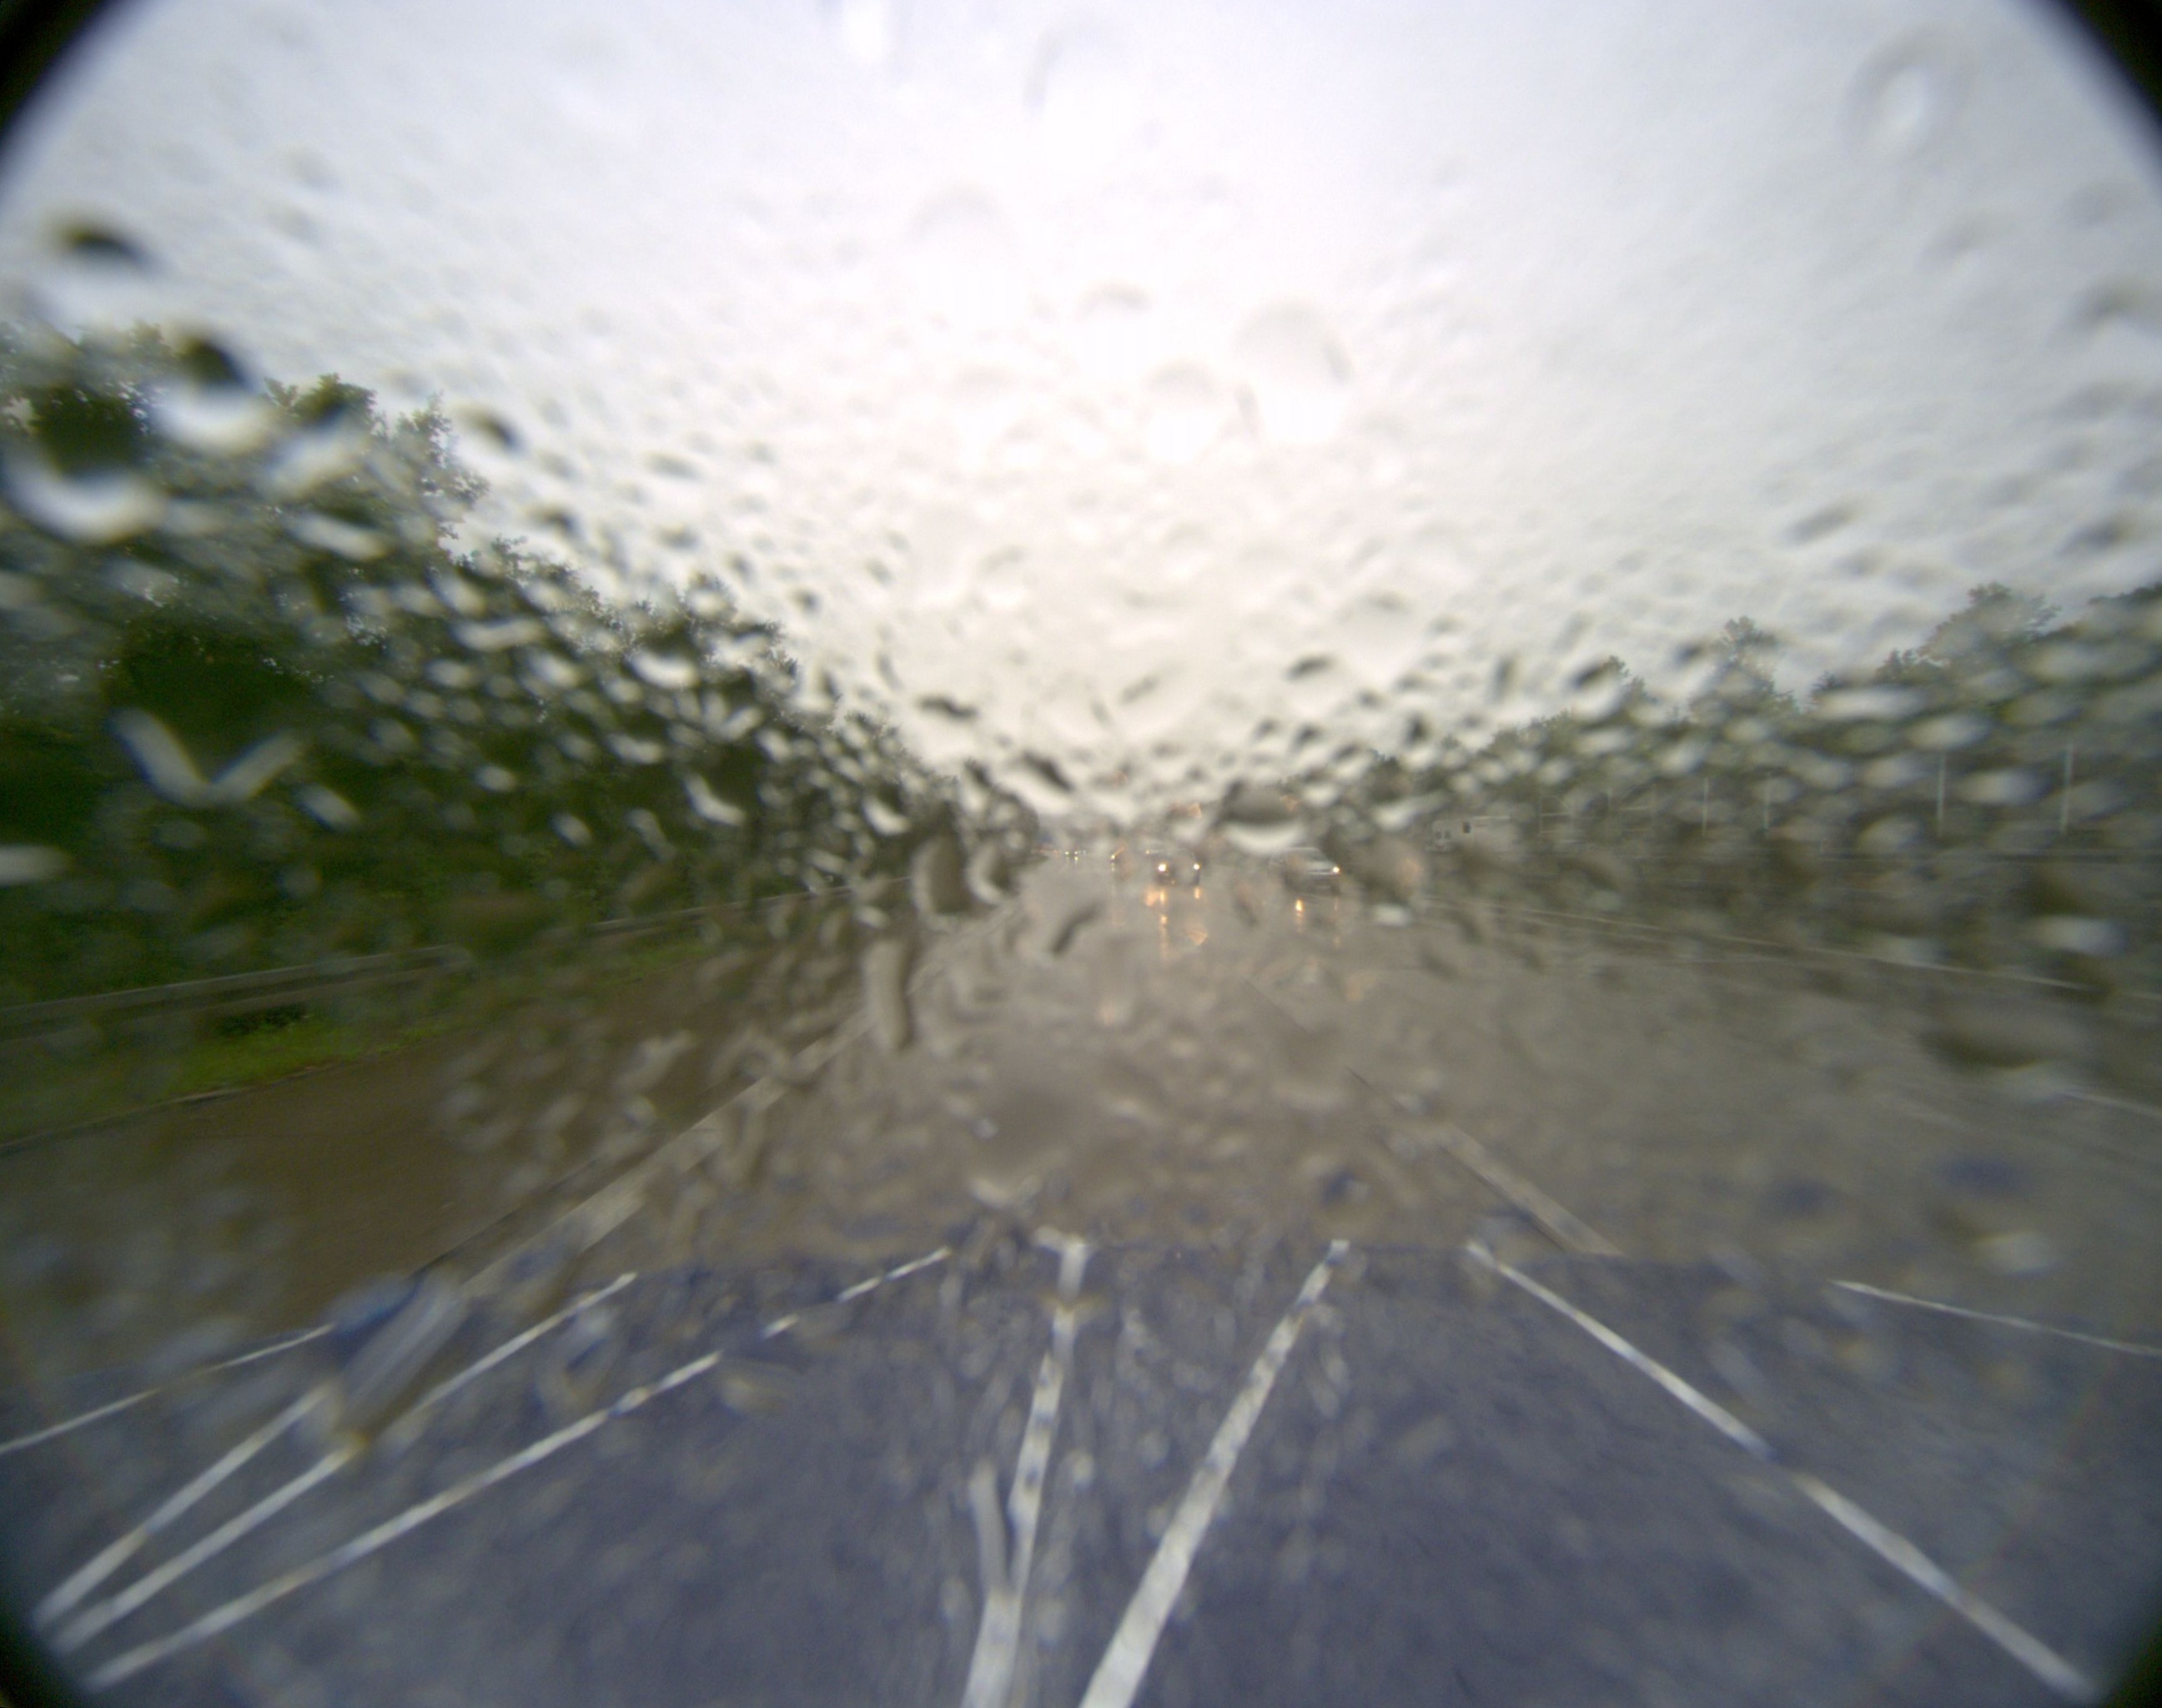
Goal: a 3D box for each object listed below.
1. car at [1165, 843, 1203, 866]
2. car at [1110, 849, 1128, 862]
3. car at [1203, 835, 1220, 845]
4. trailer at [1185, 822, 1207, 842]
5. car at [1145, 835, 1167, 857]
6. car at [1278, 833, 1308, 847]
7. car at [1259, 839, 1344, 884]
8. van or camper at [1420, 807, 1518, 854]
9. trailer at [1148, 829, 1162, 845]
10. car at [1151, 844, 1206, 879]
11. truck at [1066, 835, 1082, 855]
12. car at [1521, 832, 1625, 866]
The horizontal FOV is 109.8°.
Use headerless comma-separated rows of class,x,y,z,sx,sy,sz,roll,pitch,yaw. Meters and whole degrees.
car,6.828,0.007,50.818,1.934,1.426,4.517,0,1,0
car,4.432,0.127,88.644,1.934,1.426,4.517,0,1,1
car,21.319,-2.299,124.344,1.998,1.674,3.999,-2,1,0
trailer,24.624,-4.642,163.441,2.774,3.779,13.776,-4,1,1
car,8.990,-0.971,91.917,2.045,2.616,6.402,0,1,0
car,21.763,-1.398,78.205,1.757,1.296,4.343,-4,1,0
car,7.717,0.221,26.961,1.671,1.426,4.349,-1,1,-1
van or camper,24.647,-1.462,48.748,2.562,2.702,7.498,-2,1,1
trailer,20.739,-4.714,212.460,2.855,4.130,8.523,-4,1,0
car,4.238,0.267,33.772,1.934,1.426,4.517,0,1,1
truck,-1.546,-2.002,173.059,3.058,3.995,10.044,-1,-1,2
car,21.842,-0.238,33.969,1.757,1.296,4.343,-4,1,0
